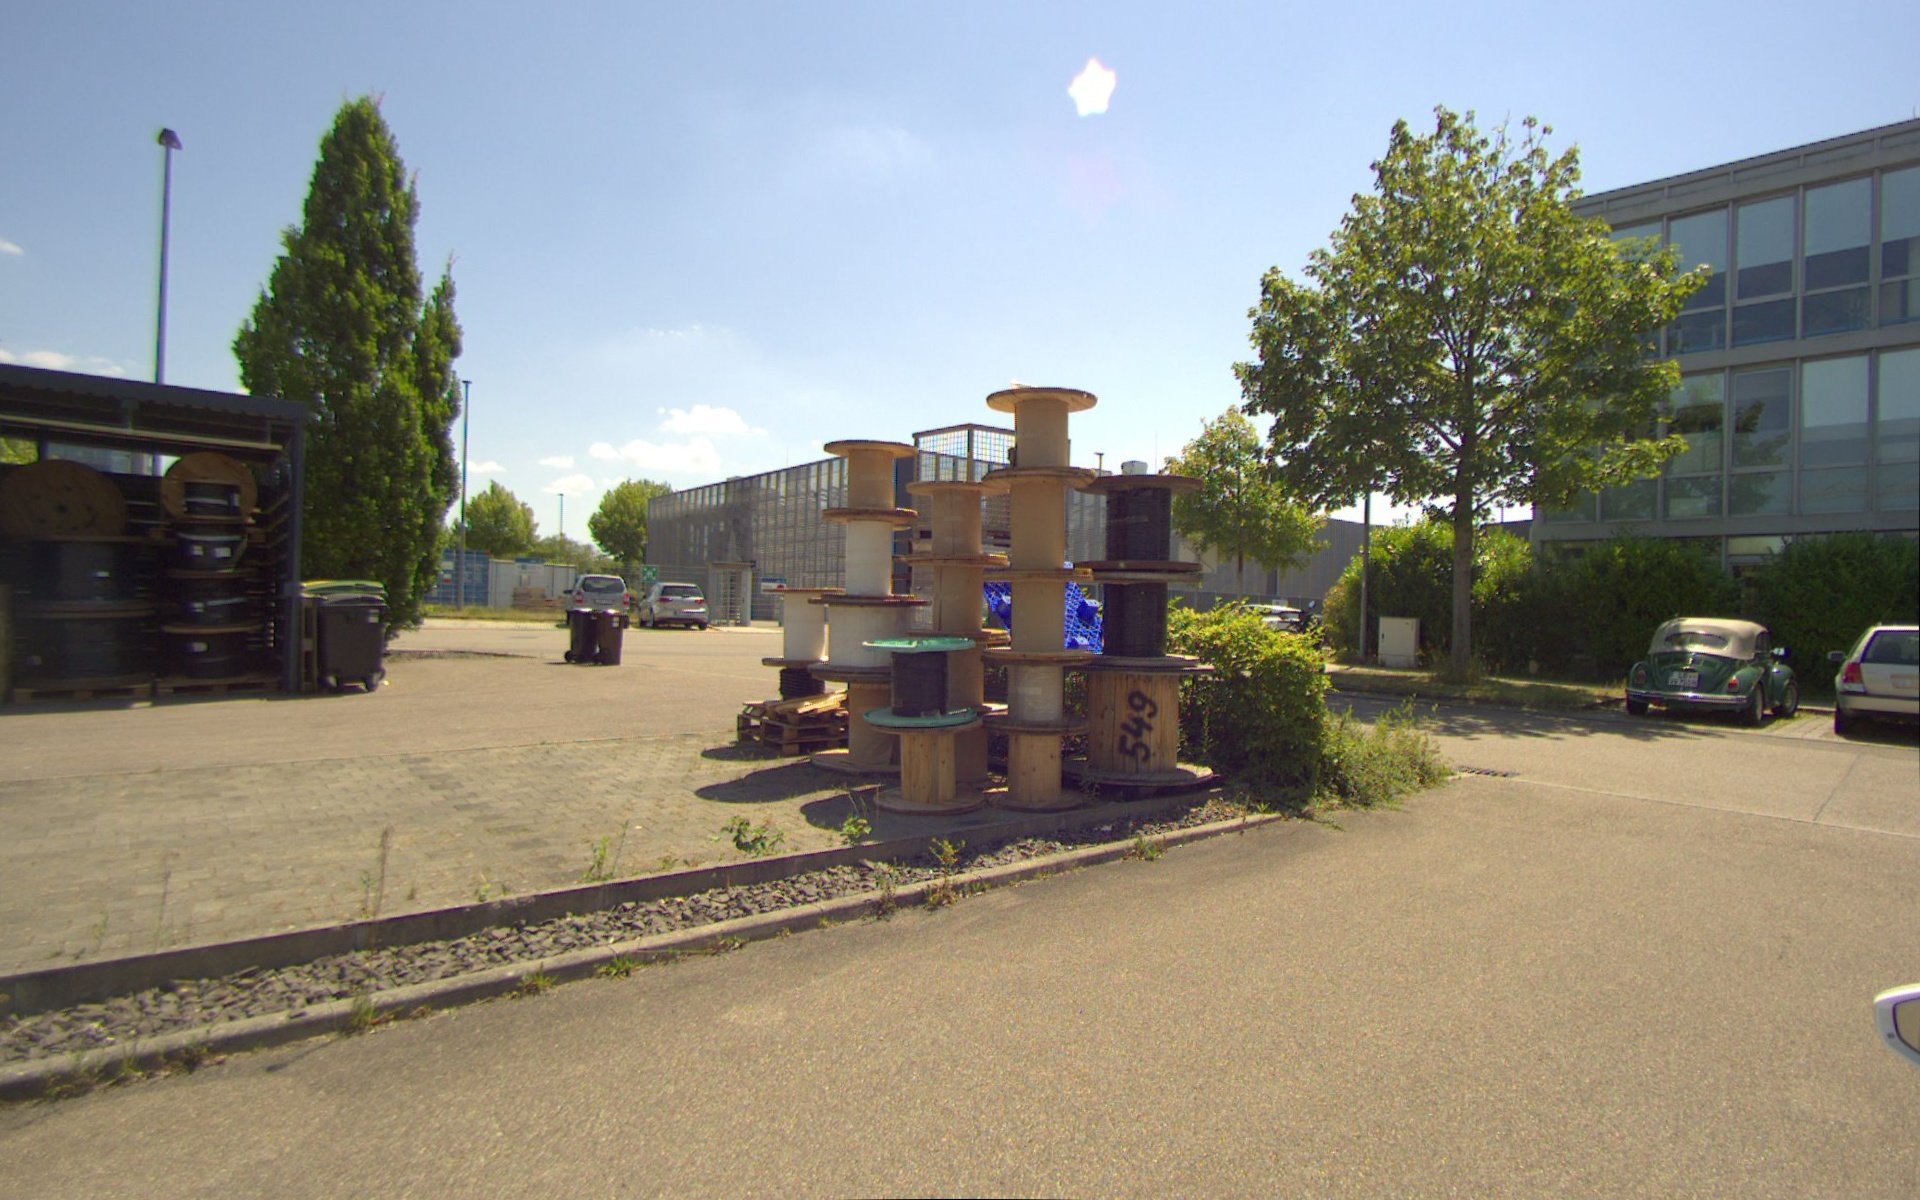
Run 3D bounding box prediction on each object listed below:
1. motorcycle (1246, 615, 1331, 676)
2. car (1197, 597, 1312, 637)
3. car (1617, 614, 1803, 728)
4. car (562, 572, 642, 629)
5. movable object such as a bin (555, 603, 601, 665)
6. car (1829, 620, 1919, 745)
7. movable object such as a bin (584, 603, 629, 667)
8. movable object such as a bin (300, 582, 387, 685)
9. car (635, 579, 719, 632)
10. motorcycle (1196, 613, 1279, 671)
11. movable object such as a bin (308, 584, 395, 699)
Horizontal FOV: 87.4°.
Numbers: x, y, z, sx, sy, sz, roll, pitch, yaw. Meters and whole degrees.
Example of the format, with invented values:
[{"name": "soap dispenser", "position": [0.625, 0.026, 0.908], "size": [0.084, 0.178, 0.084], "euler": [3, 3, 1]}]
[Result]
[{"name": "motorcycle", "position": [6.599, 0.890, 20.150], "size": [1.941, 1.153, 0.707], "euler": [1, 0, -41]}, {"name": "car", "position": [12.355, 0.681, 42.476], "size": [1.973, 1.511, 4.824], "euler": [1, 1, -25]}, {"name": "car", "position": [11.394, 0.979, 15.181], "size": [3.626, 1.468, 1.528], "euler": [1, 1, -42]}, {"name": "car", "position": [-11.377, -0.009, 31.747], "size": [1.973, 1.611, 3.975], "euler": [3, 0, -25]}, {"name": "movable object such as a bin", "position": [-6.602, 0.576, 17.370], "size": [0.570, 1.041, 0.426], "euler": [1, 0, 18]}, {"name": "car", "position": [13.045, 1.055, 13.567], "size": [1.714, 1.468, 3.630], "euler": [3, 1, 45]}, {"name": "movable object such as a bin", "position": [-6.047, 0.590, 17.185], "size": [0.567, 1.050, 0.426], "euler": [1, 0, 18]}, {"name": "movable object such as a bin", "position": [-8.399, 0.447, 13.687], "size": [0.963, 1.347, 0.703], "euler": [2, 0, -34]}, {"name": "car", "position": [-9.243, 0.150, 32.631], "size": [1.973, 1.511, 3.975], "euler": [3, 0, -25]}, {"name": "motorcycle", "position": [5.839, 0.856, 21.100], "size": [1.941, 1.153, 0.707], "euler": [1, 0, -41]}, {"name": "movable object such as a bin", "position": [-7.603, 0.504, 12.553], "size": [0.875, 1.362, 0.806], "euler": [2, 0, -34]}]
